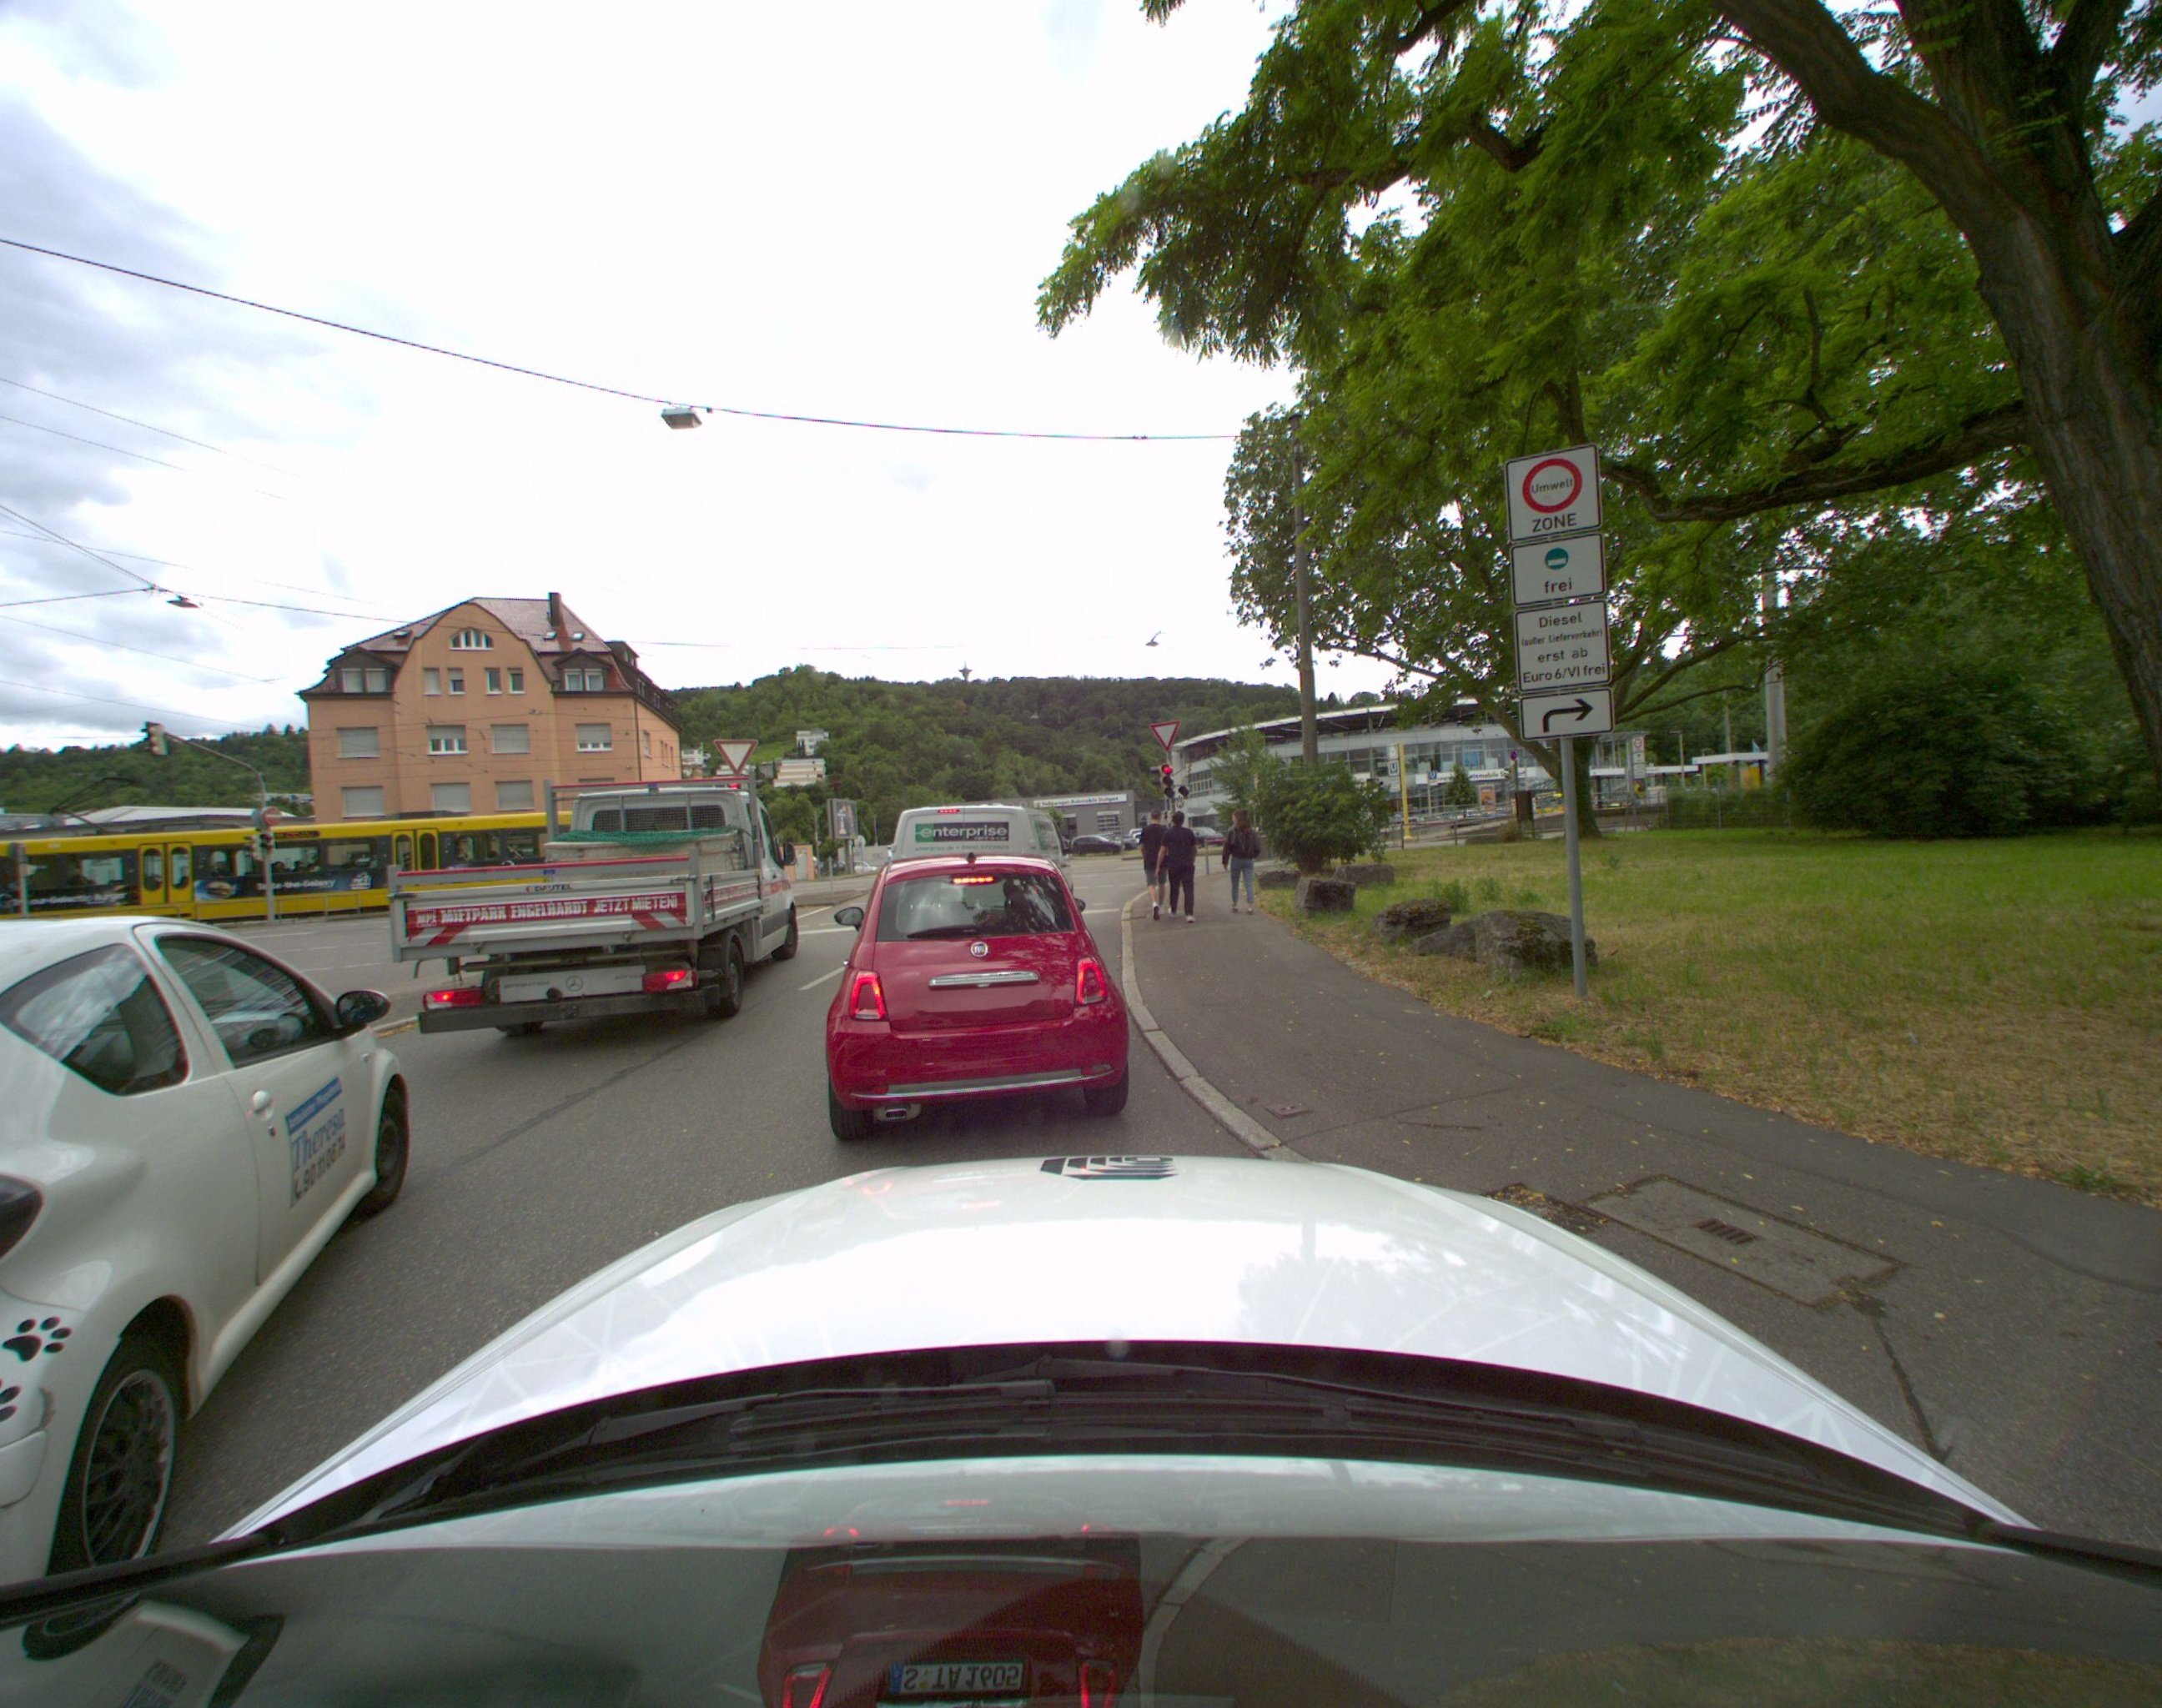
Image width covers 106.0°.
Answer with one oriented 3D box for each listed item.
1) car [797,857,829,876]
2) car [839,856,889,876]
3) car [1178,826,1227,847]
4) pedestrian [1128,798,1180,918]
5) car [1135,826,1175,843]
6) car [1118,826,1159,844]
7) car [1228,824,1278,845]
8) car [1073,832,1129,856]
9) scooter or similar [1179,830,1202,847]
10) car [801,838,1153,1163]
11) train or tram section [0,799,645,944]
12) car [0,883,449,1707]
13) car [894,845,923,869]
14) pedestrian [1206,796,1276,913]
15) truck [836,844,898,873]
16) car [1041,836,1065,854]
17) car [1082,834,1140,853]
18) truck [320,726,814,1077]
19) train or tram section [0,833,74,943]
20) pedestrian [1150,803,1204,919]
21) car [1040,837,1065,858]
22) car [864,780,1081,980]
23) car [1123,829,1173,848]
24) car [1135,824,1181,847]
[{"bbox_3d":[-25.160,1.147,76.625,1.774,1.518,3.627,-4,2,-2],"label":"car"},{"bbox_3d":[-19.603,1.069,73.629,4.209,1.533,1.767,-4,1,-14],"label":"car"},{"bbox_3d":[9.683,-1.382,65.003,1.782,1.500,3.843,-4,1,-31],"label":"car"},{"bbox_3d":[1.197,0.061,13.291,0.690,1.857,0.789,-4,1,5],"label":"pedestrian"},{"bbox_3d":[9.172,-2.377,101.128,4.774,1.802,1.778,-4,1,4],"label":"car"},{"bbox_3d":[6.794,-2.220,96.285,4.774,1.802,1.778,-4,1,4],"label":"car"},{"bbox_3d":[14.052,-1.571,66.717,1.781,1.500,3.984,-4,1,-29],"label":"car"},{"bbox_3d":[1.518,-0.740,61.535,3.837,1.500,1.784,-3,1,18],"label":"car"},{"bbox_3d":[8.398,-1.197,62.285,1.658,1.177,0.469,-4,1,9],"label":"scooter or similar"},{"bbox_3d":[-0.739,0.680,5.678,1.638,1.456,3.420,-3,1,-9],"label":"car"},{"bbox_3d":[-26.986,0.459,29.695,19.126,3.665,3.265,-4,1,-12],"label":"train or tram section"},{"bbox_3d":[-3.320,0.894,2.462,1.649,1.432,3.398,-5,1,-30],"label":"car"},{"bbox_3d":[-14.558,0.198,68.936,1.858,1.817,4.392,-4,1,-7],"label":"car"},{"bbox_3d":[2.506,-0.002,12.833,0.695,1.739,0.784,-4,1,-17],"label":"pedestrian"},{"bbox_3d":[-20.157,0.398,76.751,5.211,2.393,1.983,-4,1,-26],"label":"truck"},{"bbox_3d":[-2.701,-0.910,79.121,1.761,1.533,4.096,-4,1,5],"label":"car"},{"bbox_3d":[2.646,-0.949,70.759,4.636,1.327,1.783,-4,1,15],"label":"car"},{"bbox_3d":[-4.688,0.288,8.976,2.423,2.397,6.006,-4,1,-11],"label":"truck"},{"bbox_3d":[-45.674,1.777,26.369,19.100,3.665,3.269,-4,1,-8],"label":"train or tram section"},{"bbox_3d":[1.490,0.101,12.677,0.690,1.714,0.789,-4,1,5],"label":"pedestrian"},{"bbox_3d":[-2.737,-0.651,79.103,1.985,1.815,4.004,-4,1,3],"label":"car"},{"bbox_3d":[-1.227,0.246,11.526,1.981,2.106,4.767,-4,1,4],"label":"car"},{"bbox_3d":[6.694,-1.526,81.125,4.774,1.533,1.778,-4,1,4],"label":"car"},{"bbox_3d":[8.413,-2.029,88.896,4.774,2.156,2.237,-4,1,4],"label":"car"}]
